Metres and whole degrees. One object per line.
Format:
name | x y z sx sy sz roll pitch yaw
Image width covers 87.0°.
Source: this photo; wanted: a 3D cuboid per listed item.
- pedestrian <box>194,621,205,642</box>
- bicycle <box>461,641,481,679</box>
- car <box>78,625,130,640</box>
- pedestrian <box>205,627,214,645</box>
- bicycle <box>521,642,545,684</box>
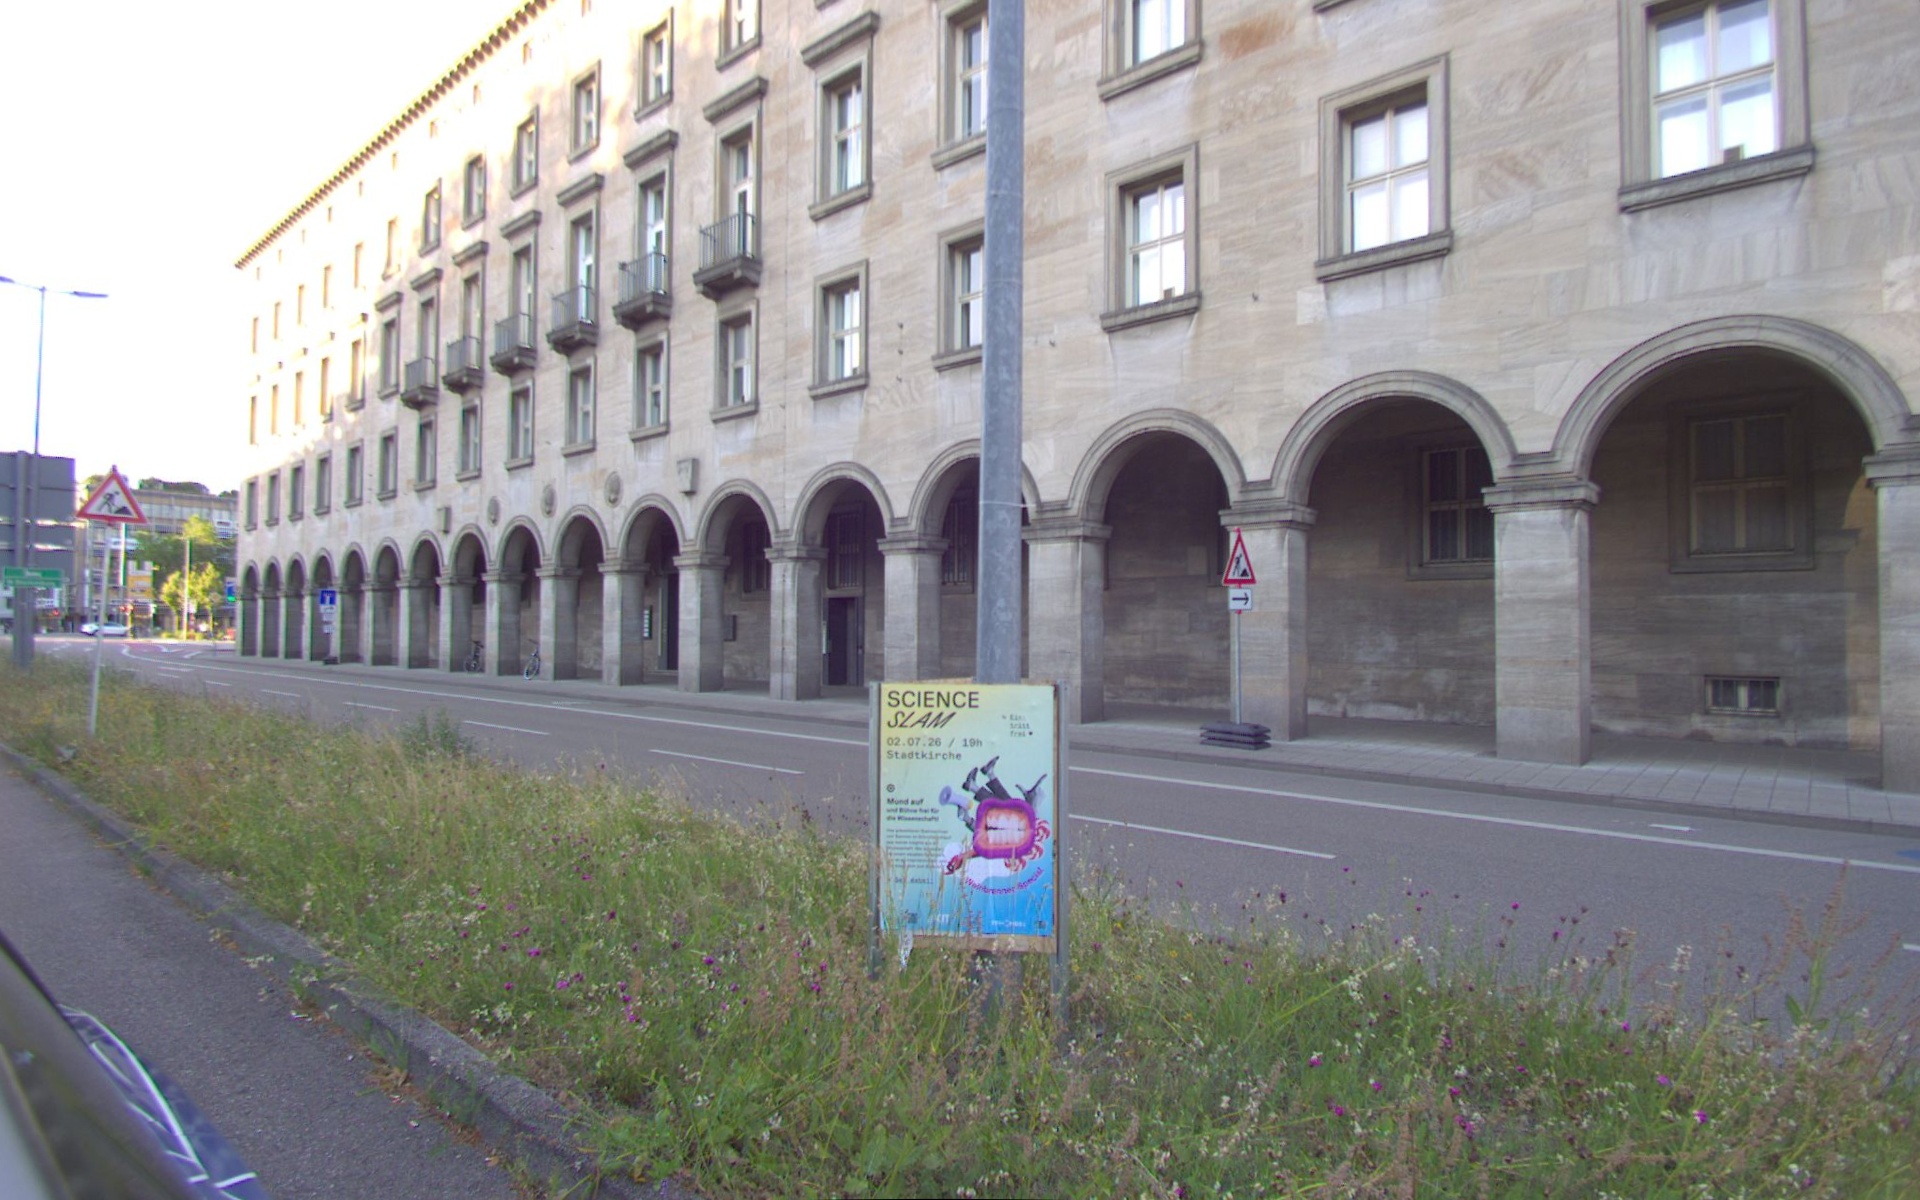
pedestrian | -66.149 2.749 88.014 0.506 1.771 0.630 -2 -3 41
bicycle | -16.086 1.949 33.314 0.505 1.188 2.431 1 -2 -25
car | -94.623 3.603 111.879 1.995 1.621 3.983 -1 -3 34
pedestrian | -65.632 3.153 88.457 0.389 1.553 0.519 -2 -3 41
bicycle | -12.703 1.853 30.118 0.505 1.130 2.431 1 -1 -20
